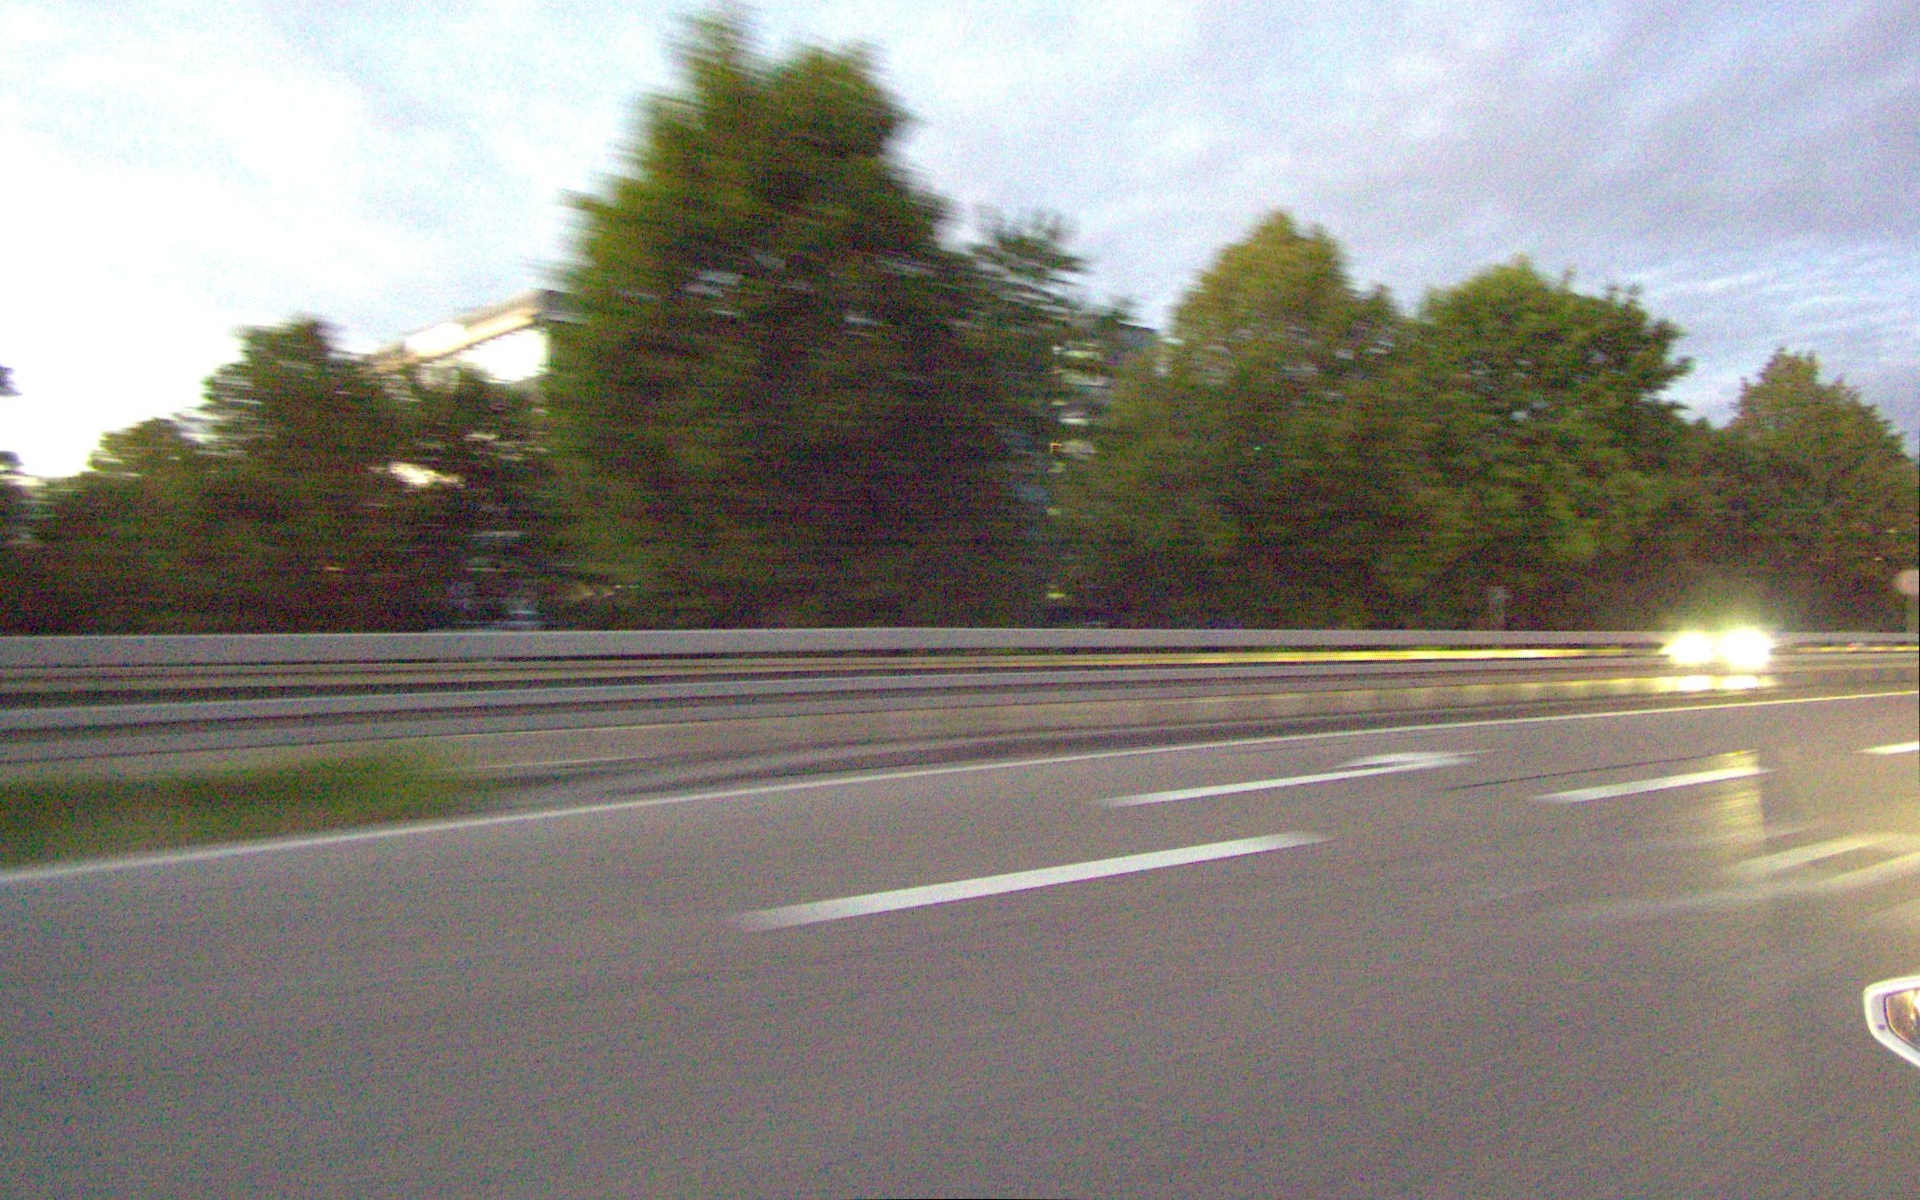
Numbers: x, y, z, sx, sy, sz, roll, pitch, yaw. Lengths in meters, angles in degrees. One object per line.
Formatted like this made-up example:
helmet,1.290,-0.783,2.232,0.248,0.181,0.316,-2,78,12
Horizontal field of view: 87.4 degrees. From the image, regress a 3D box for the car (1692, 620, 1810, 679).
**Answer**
car,25.663,1.579,32.560,4.266,1.746,1.605,2,0,-31
